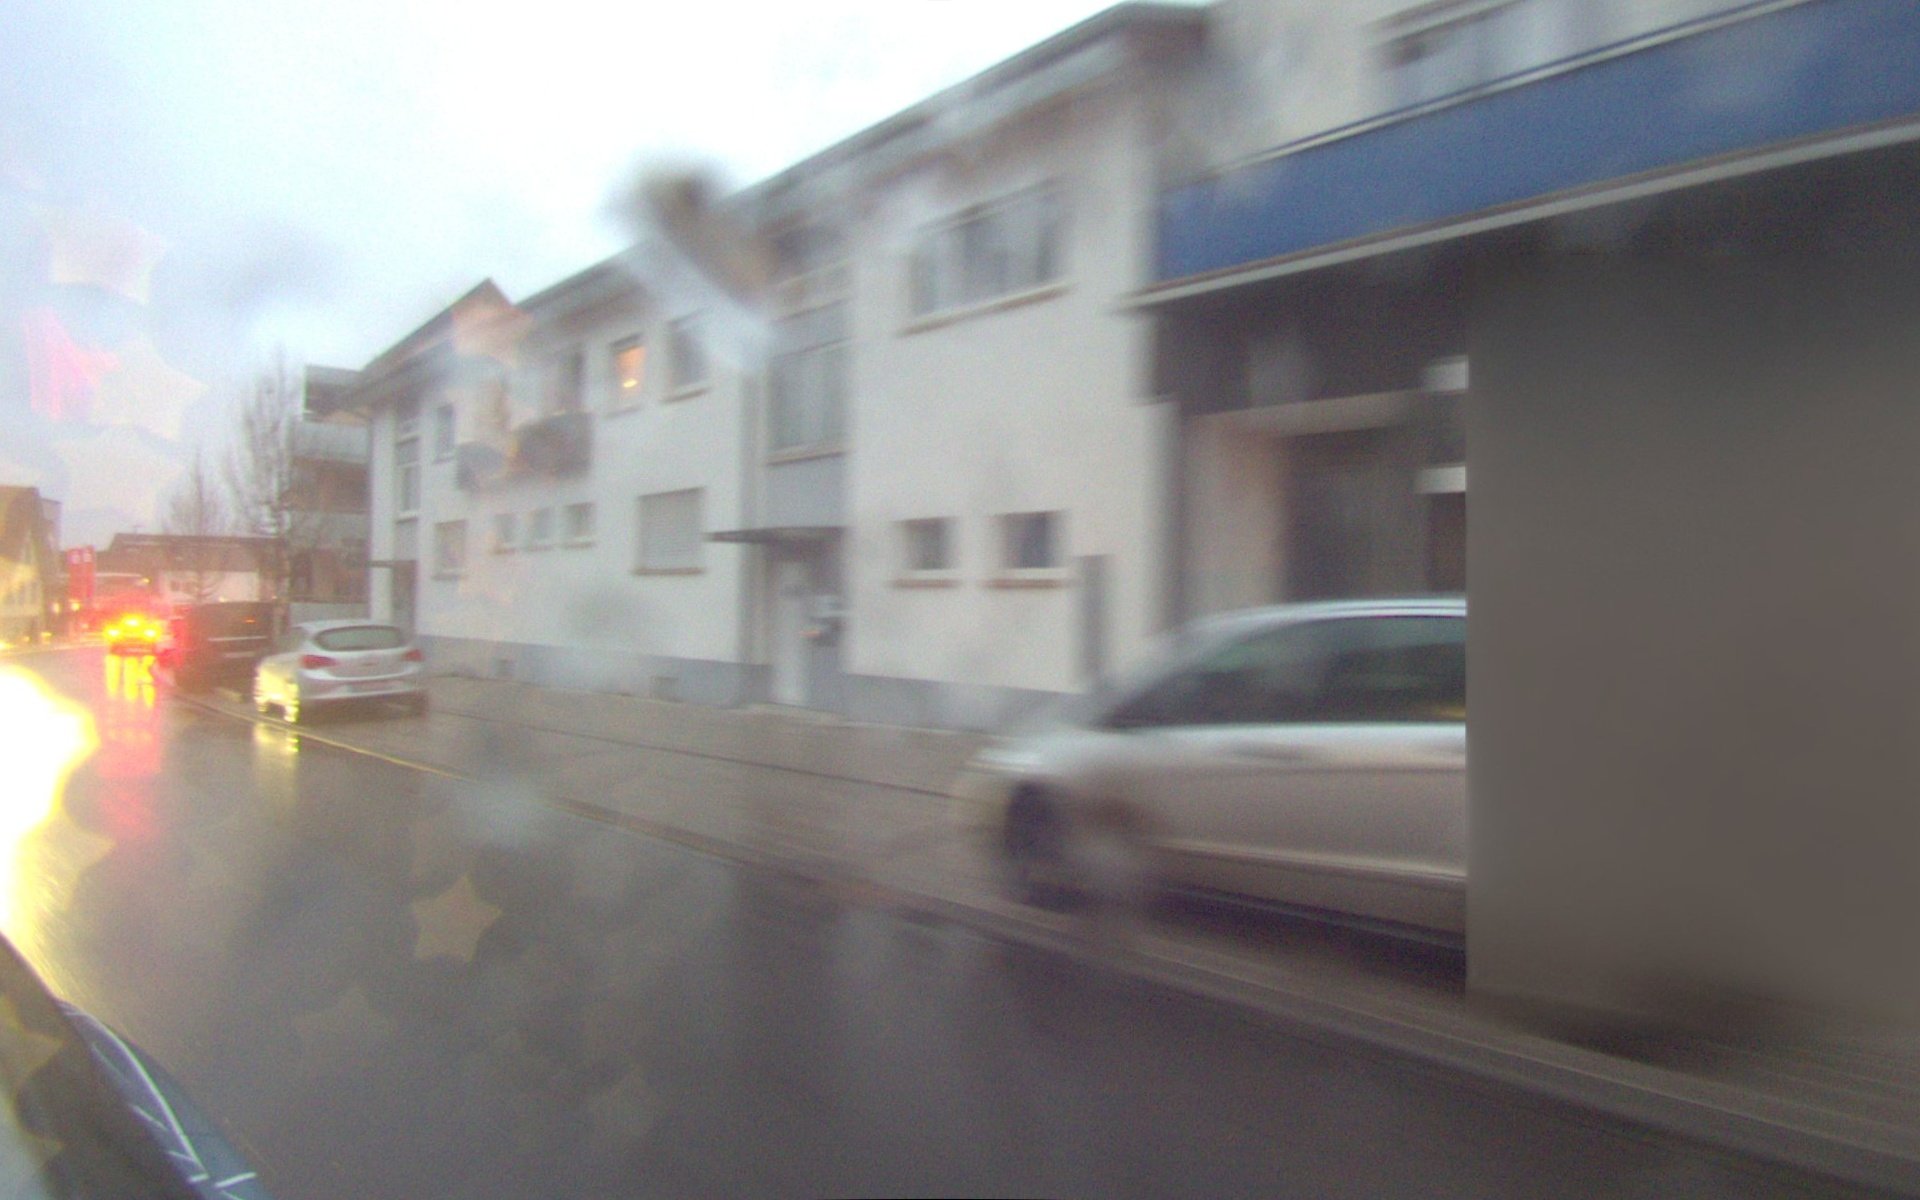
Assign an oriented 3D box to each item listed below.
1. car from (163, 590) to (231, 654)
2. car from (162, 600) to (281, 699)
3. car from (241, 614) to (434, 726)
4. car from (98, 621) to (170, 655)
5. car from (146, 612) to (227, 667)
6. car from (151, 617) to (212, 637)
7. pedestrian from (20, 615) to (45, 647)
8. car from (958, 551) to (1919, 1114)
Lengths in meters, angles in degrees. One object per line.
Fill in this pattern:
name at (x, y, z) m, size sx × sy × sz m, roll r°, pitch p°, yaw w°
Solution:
car at (-34.385, 0.993, 45.716) m, size 2.014 × 2.679 × 4.222 m, roll -2°, pitch 0°, yaw -32°
car at (-16.574, 1.049, 22.618) m, size 1.856 × 1.914 × 4.842 m, roll -2°, pitch 0°, yaw -39°
car at (-9.914, 0.989, 15.957) m, size 1.773 × 1.467 × 4.399 m, roll -2°, pitch 0°, yaw -43°
car at (-39.158, 1.753, 48.074) m, size 1.966 × 1.511 × 4.012 m, roll 0°, pitch -1°, yaw -29°
car at (-26.591, 1.320, 34.902) m, size 1.909 × 1.682 × 4.352 m, roll -2°, pitch 0°, yaw -34°
car at (-71.148, 2.454, 92.583) m, size 3.931 × 1.660 × 1.867 m, roll 2°, pitch -3°, yaw -17°
pedestrian at (-49.183, 1.644, 53.650) m, size 0.640 × 1.674 × 0.651 m, roll 2°, pitch -3°, yaw -8°
car at (1.983, 0.674, 4.788) m, size 3.815 × 1.626 × 1.702 m, roll -1°, pitch 1°, yaw 43°
